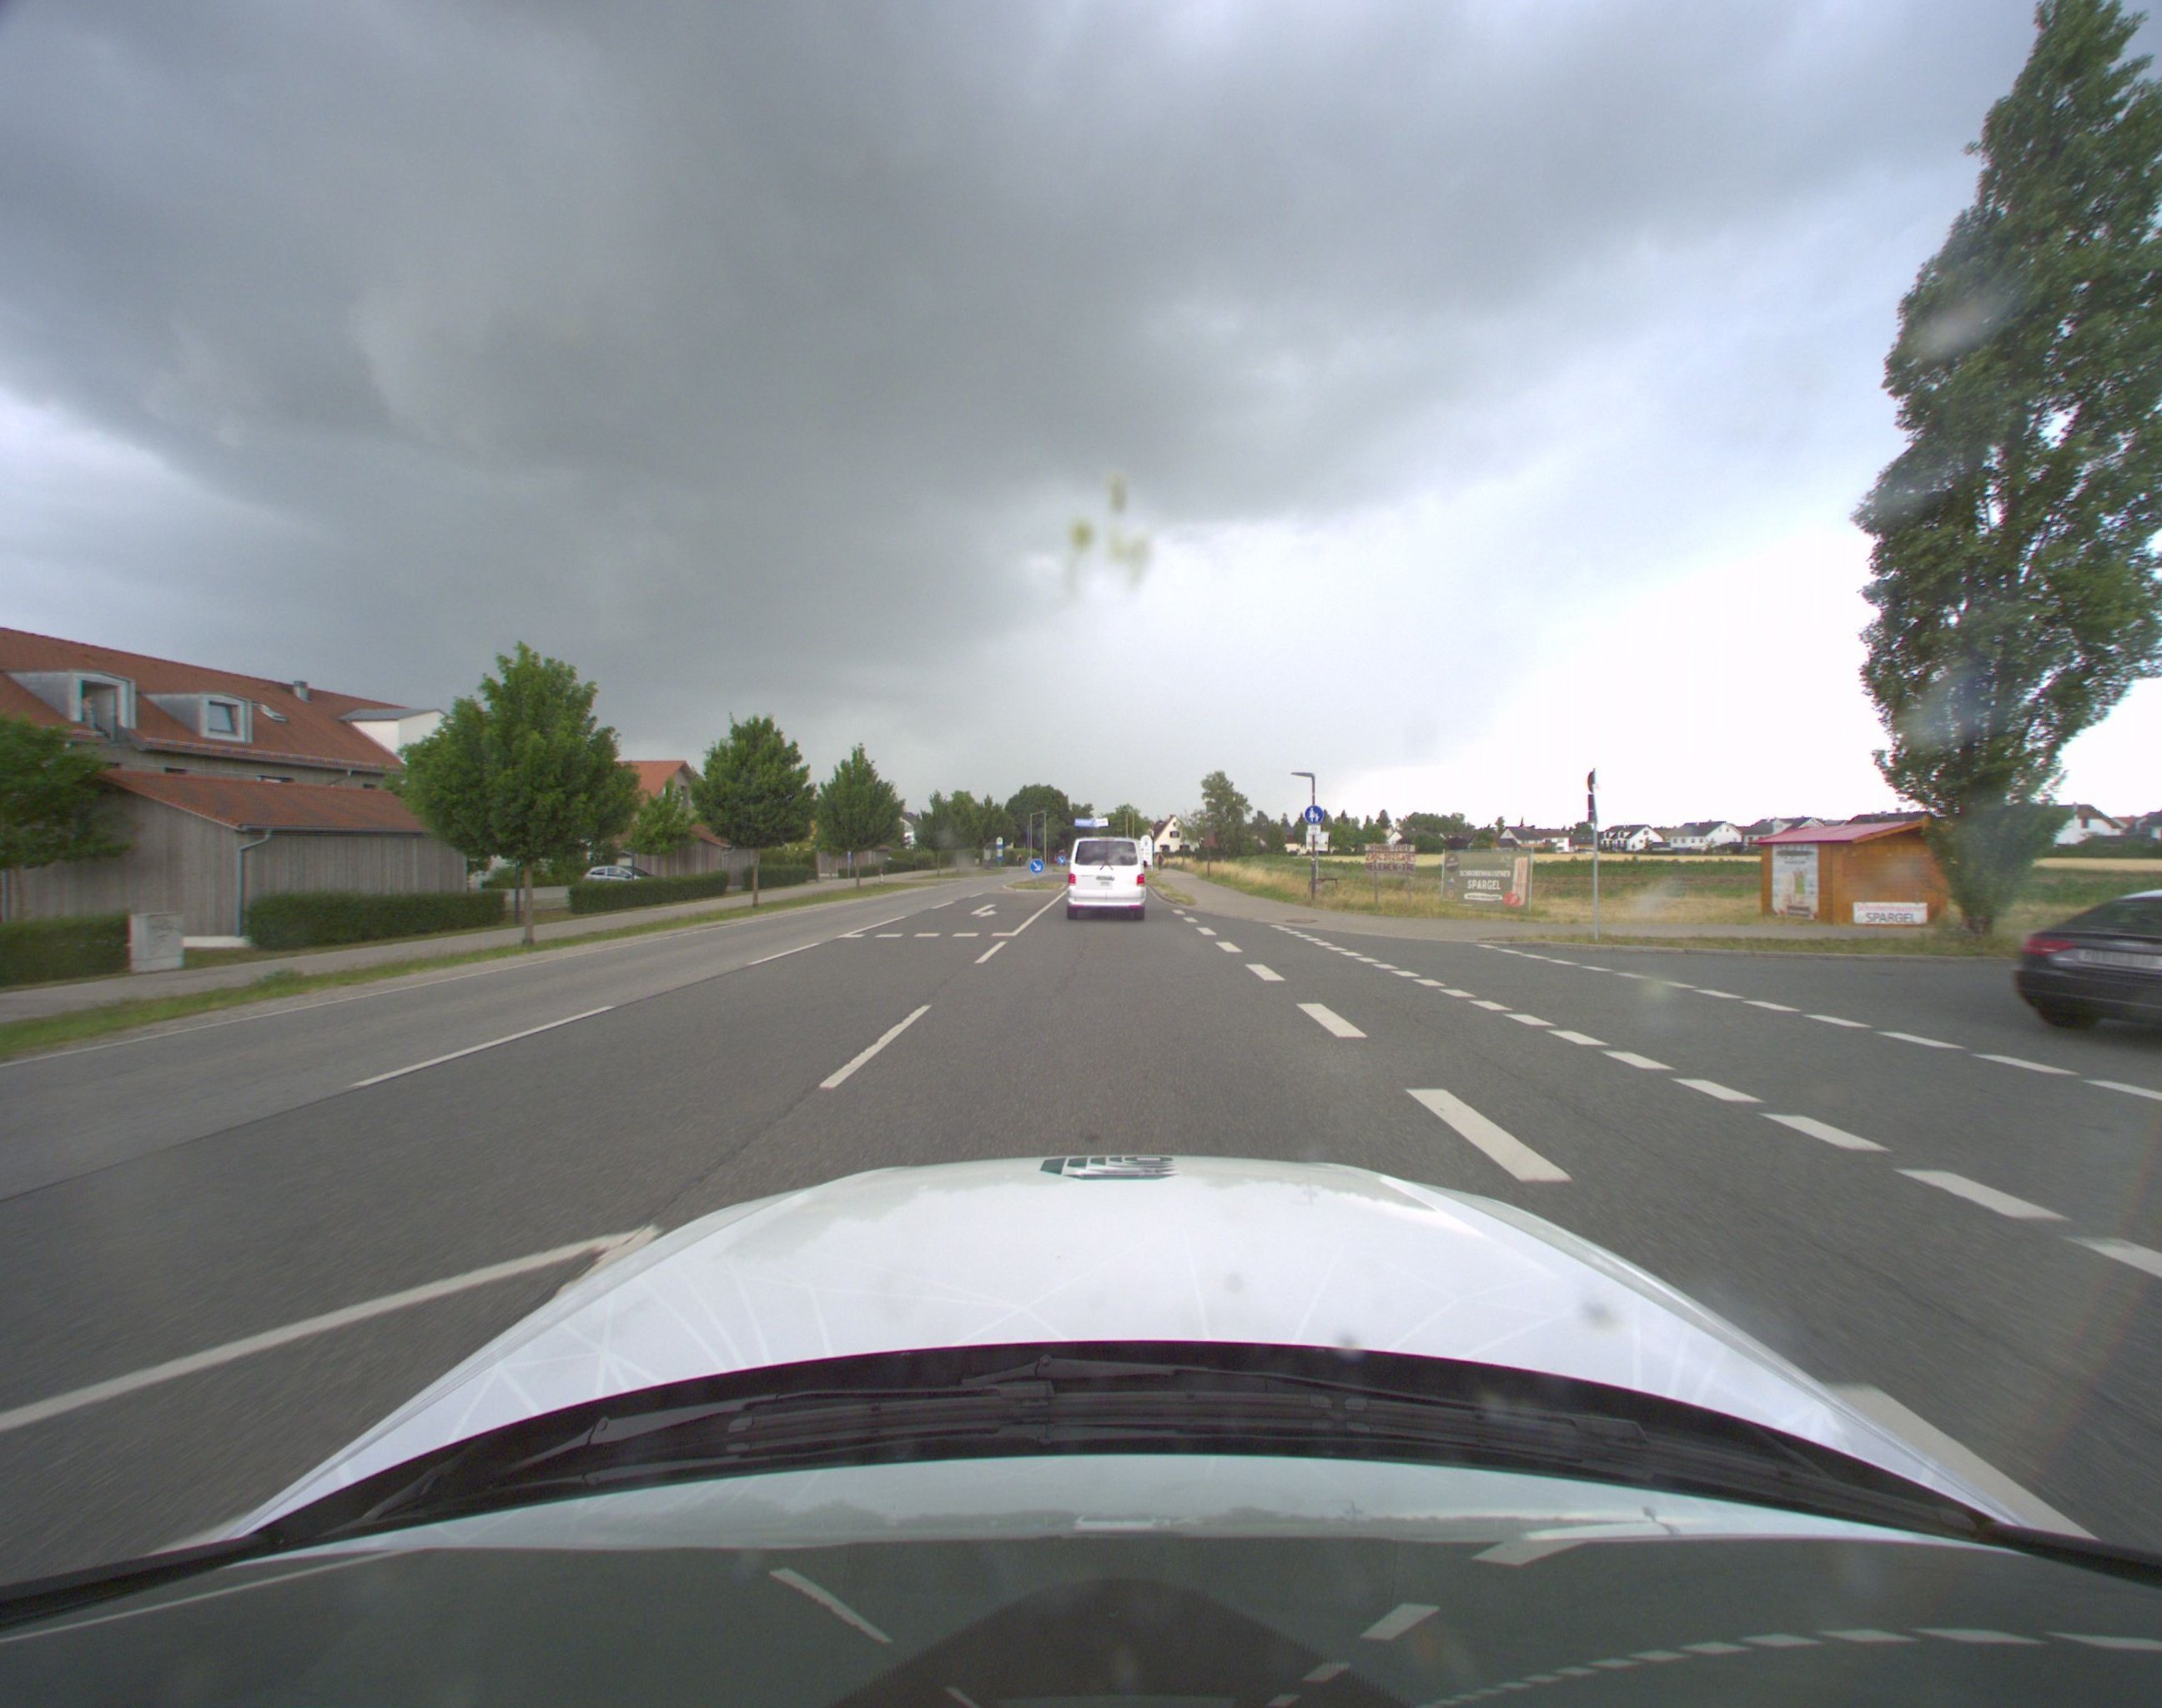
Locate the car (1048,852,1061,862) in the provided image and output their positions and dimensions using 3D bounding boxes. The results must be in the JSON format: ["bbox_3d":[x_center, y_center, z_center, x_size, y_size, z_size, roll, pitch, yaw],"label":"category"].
[{"bbox_3d":[-4.031,0.508,123.240,1.647,1.429,3.603,-2,0,1],"label":"car"}]

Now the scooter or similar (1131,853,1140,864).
[{"bbox_3d":[5.429,0.458,81.518,0.845,1.103,1.095,-2,0,2],"label":"scooter or similar"}]

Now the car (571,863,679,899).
[{"bbox_3d":[-21.771,1.272,38.984,3.970,1.556,2.002,1,0,3],"label":"car"}]

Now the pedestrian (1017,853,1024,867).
[{"bbox_3d":[-6.426,0.624,86.567,0.621,1.525,0.680,-2,0,1],"label":"pedestrian"}]

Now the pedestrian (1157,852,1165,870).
[{"bbox_3d":[7.102,0.605,71.995,0.621,1.525,0.680,-2,0,1],"label":"pedestrian"}]

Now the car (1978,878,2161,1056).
[{"bbox_3d":[10.826,0.940,7.376,4.379,1.388,1.823,0,0,-15],"label":"car"}]

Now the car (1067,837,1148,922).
[{"bbox_3d":[0.616,0.559,20.454,1.819,1.913,4.000,1,0,0],"label":"car"}]
